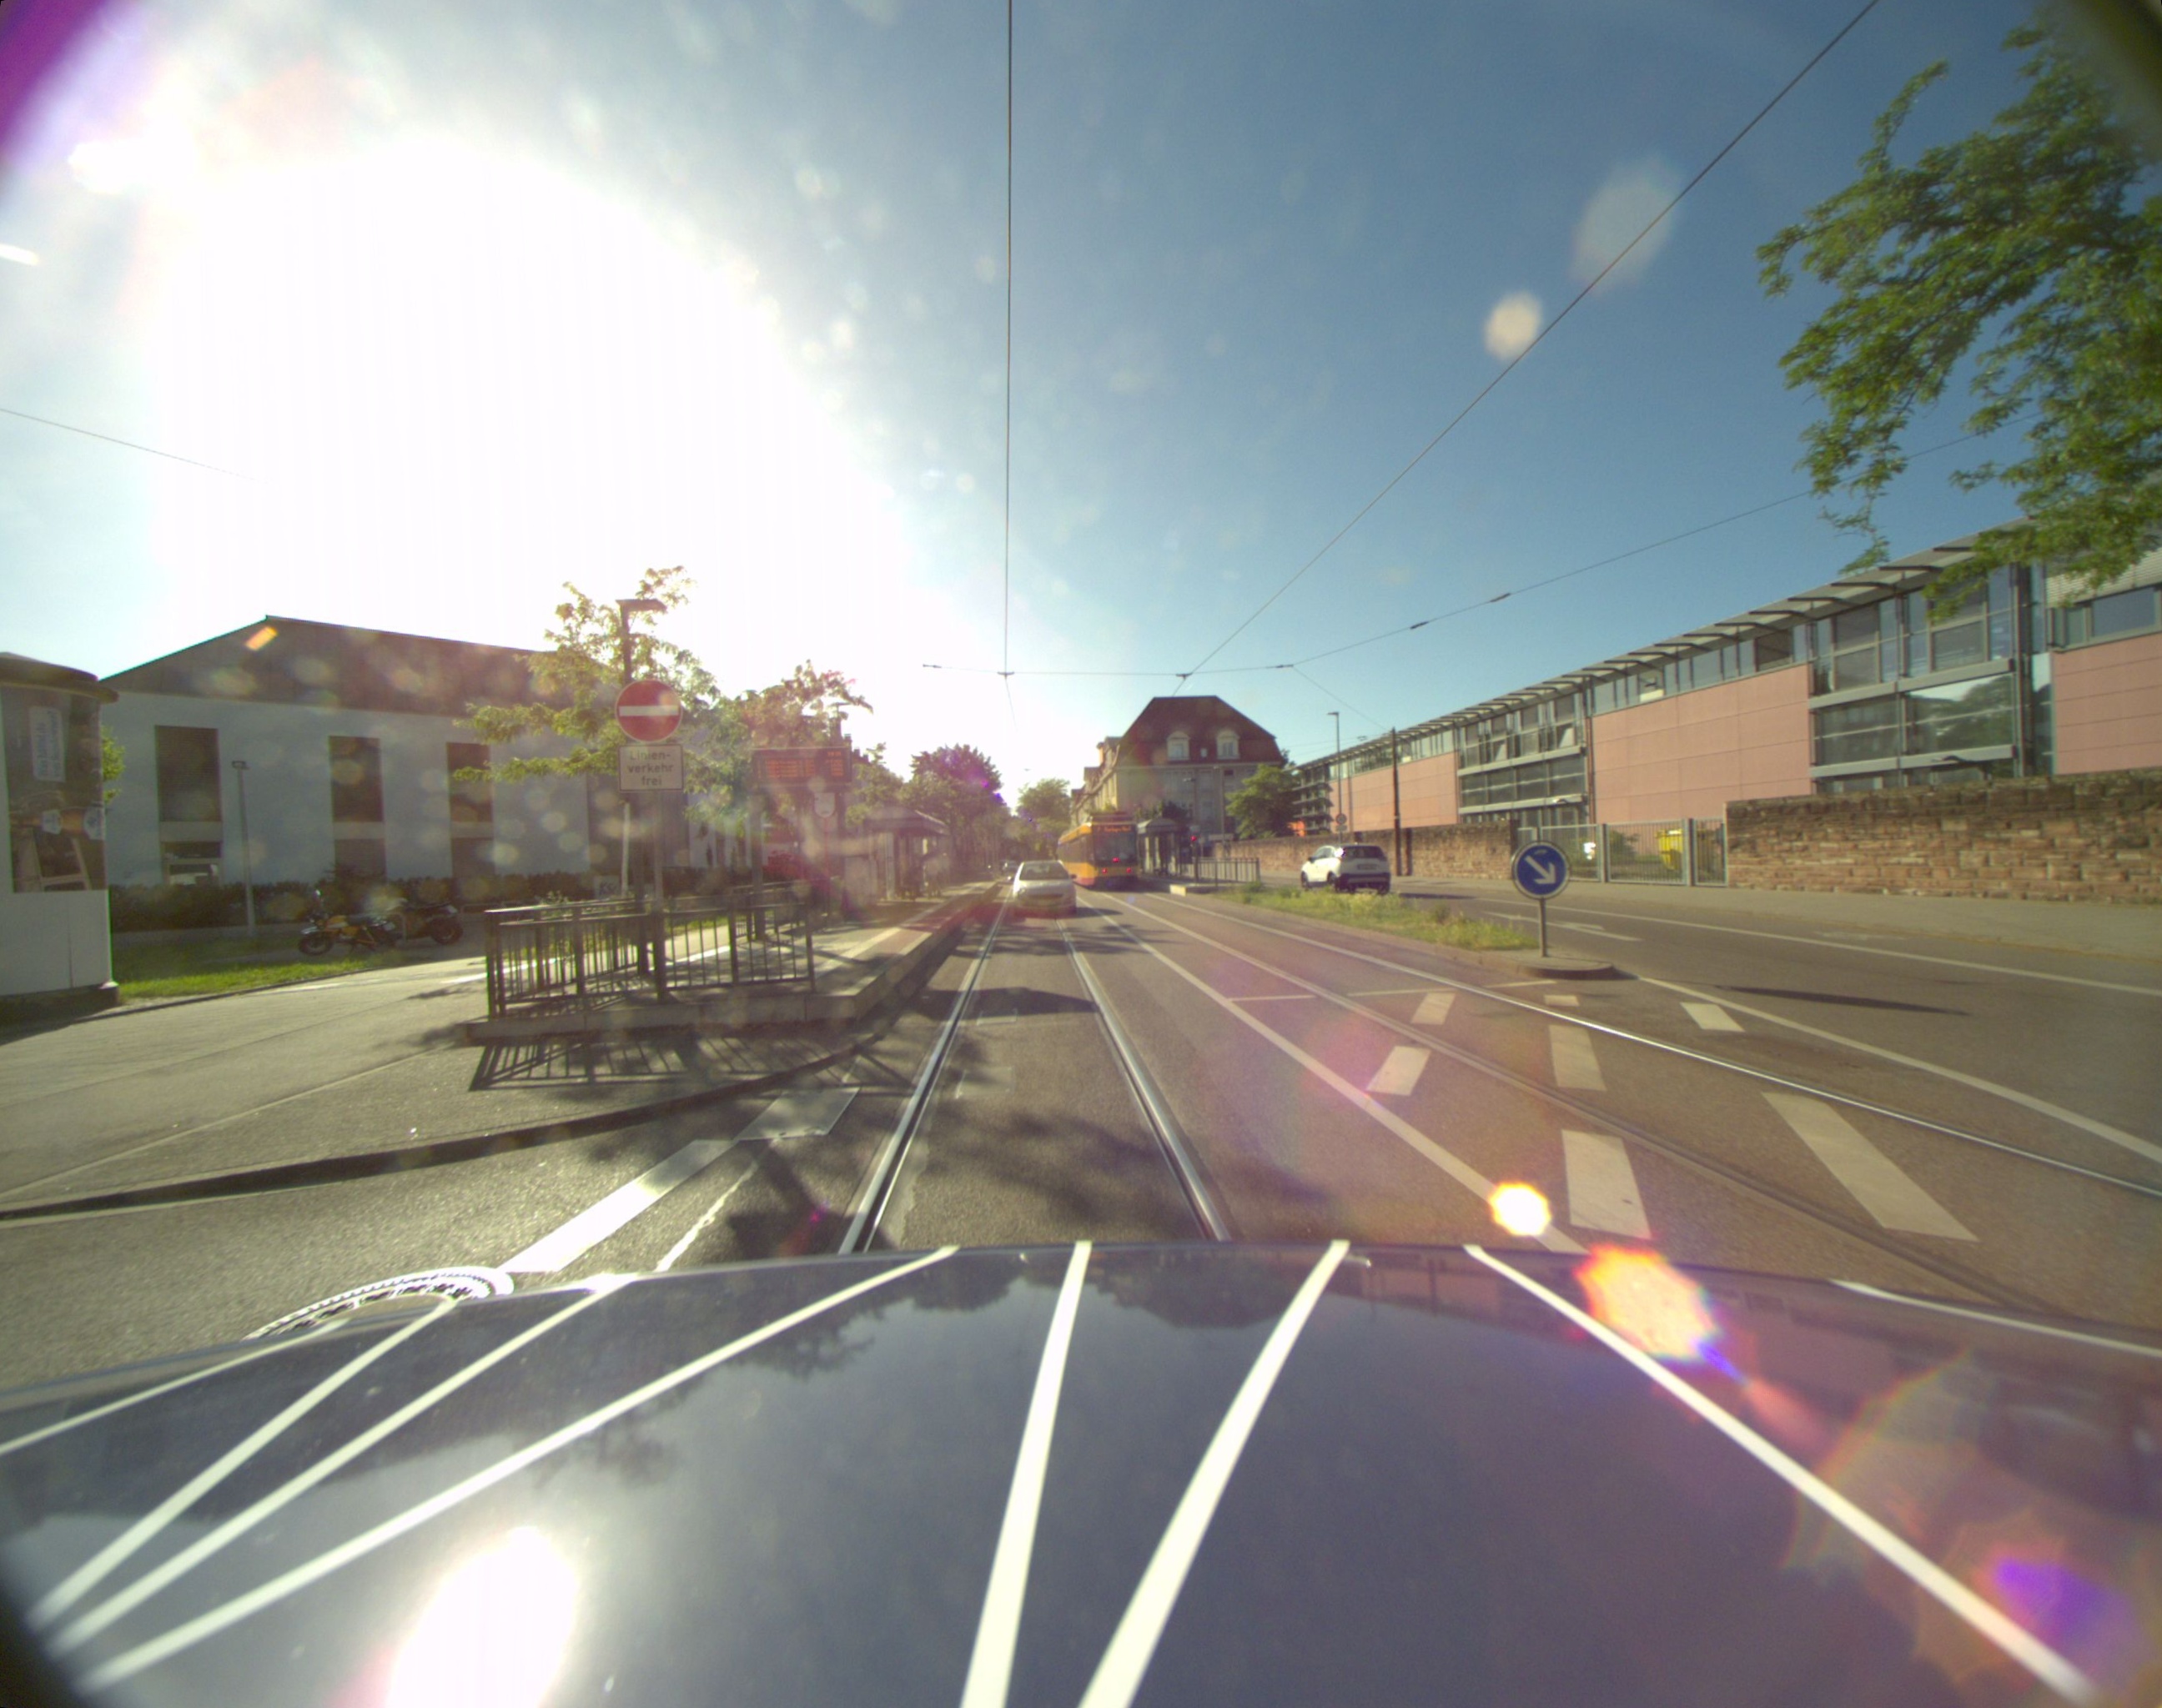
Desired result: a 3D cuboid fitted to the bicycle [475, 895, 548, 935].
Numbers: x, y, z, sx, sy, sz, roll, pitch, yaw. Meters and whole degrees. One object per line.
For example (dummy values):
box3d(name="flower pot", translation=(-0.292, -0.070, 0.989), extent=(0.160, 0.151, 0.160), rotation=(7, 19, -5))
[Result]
box3d(name="bicycle", translation=(-15.049, 1.604, 20.093), extent=(1.475, 0.973, 0.415), rotation=(-2, 1, -10))

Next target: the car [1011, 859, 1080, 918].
box3d(name="car", translation=(-1.025, 0.914, 21.510), extent=(1.742, 1.450, 3.692), rotation=(-2, 0, -4))

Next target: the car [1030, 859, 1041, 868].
box3d(name="car", translation=(-7.857, 1.684, 129.876), extent=(1.742, 1.450, 4.403), rotation=(-2, 0, -5))

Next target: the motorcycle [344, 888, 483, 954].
box3d(name="motorcycle", translation=(-14.569, 1.439, 16.651), extent=(2.084, 1.267, 0.861), rotation=(-2, 1, -10))

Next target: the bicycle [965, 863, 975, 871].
box3d(name="bicycle", translation=(-13.068, 1.566, 89.379), extent=(0.827, 0.880, 2.198), rotation=(-2, 0, 0))

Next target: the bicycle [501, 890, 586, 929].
box3d(name="bicycle", translation=(-15.228, 1.559, 21.570), extent=(1.904, 0.973, 0.491), rotation=(-2, 1, -10))

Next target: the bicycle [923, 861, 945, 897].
box3d(name="bicycle", translation=(-5.285, 0.881, 27.371), extent=(0.621, 1.222, 1.965), rotation=(-3, 0, -8))

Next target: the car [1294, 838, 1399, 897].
box3d(name="car", translation=(8.323, 0.392, 24.208), extent=(1.769, 1.654, 4.209), rotation=(-2, 0, -1))

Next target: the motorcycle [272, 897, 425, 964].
box3d(name="motorcycle", translation=(-14.471, 1.495, 15.081), extent=(2.005, 1.151, 0.861), rotation=(-2, 1, -10))

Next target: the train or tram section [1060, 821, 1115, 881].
box3d(name="train or tram section", translation=(0.315, -0.169, 48.050), extent=(2.812, 3.439, 6.665), rotation=(-3, 0, -4))

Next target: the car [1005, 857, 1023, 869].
box3d(name="car", translation=(-8.303, 1.111, 94.126), extent=(1.744, 1.450, 3.689), rotation=(-2, 0, -12))

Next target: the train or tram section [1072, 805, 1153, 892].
box3d(name="train or tram section", translation=(1.242, -0.220, 34.407), extent=(2.812, 3.439, 6.665), rotation=(-3, 0, -4))

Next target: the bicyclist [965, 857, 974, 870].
box3d(name="bicyclist", translation=(-13.082, 1.127, 89.288), extent=(0.819, 1.491, 1.258), rotation=(-2, 0, 0))

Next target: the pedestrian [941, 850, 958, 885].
box3d(name="pedestrian", translation=(-6.606, 0.689, 38.220), extent=(0.673, 1.694, 0.690), rotation=(-4, 1, -5))

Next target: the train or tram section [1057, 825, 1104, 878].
box3d(name="train or tram section", translation=(-0.123, -0.158, 54.707), extent=(2.812, 3.439, 6.665), rotation=(-3, 0, -4))

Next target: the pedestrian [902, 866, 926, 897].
box3d(name="pedestrian", translation=(-6.265, 1.022, 28.573), extent=(0.740, 1.111, 0.658), rotation=(-4, 1, -4))

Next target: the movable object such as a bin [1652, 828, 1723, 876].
box3d(name="movable object such as a bin", translation=(17.115, -0.064, 21.483), extent=(0.883, 1.277, 1.308), rotation=(-2, 1, -6))

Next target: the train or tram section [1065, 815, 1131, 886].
box3d(name="train or tram section", translation=(0.796, -0.179, 41.093), extent=(2.812, 3.439, 6.665), rotation=(-3, 0, -4))

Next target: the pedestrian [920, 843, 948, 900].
box3d(name="pedestrian", translation=(-4.960, 0.591, 25.684), extent=(0.713, 1.843, 0.729), rotation=(-4, 1, -2))
